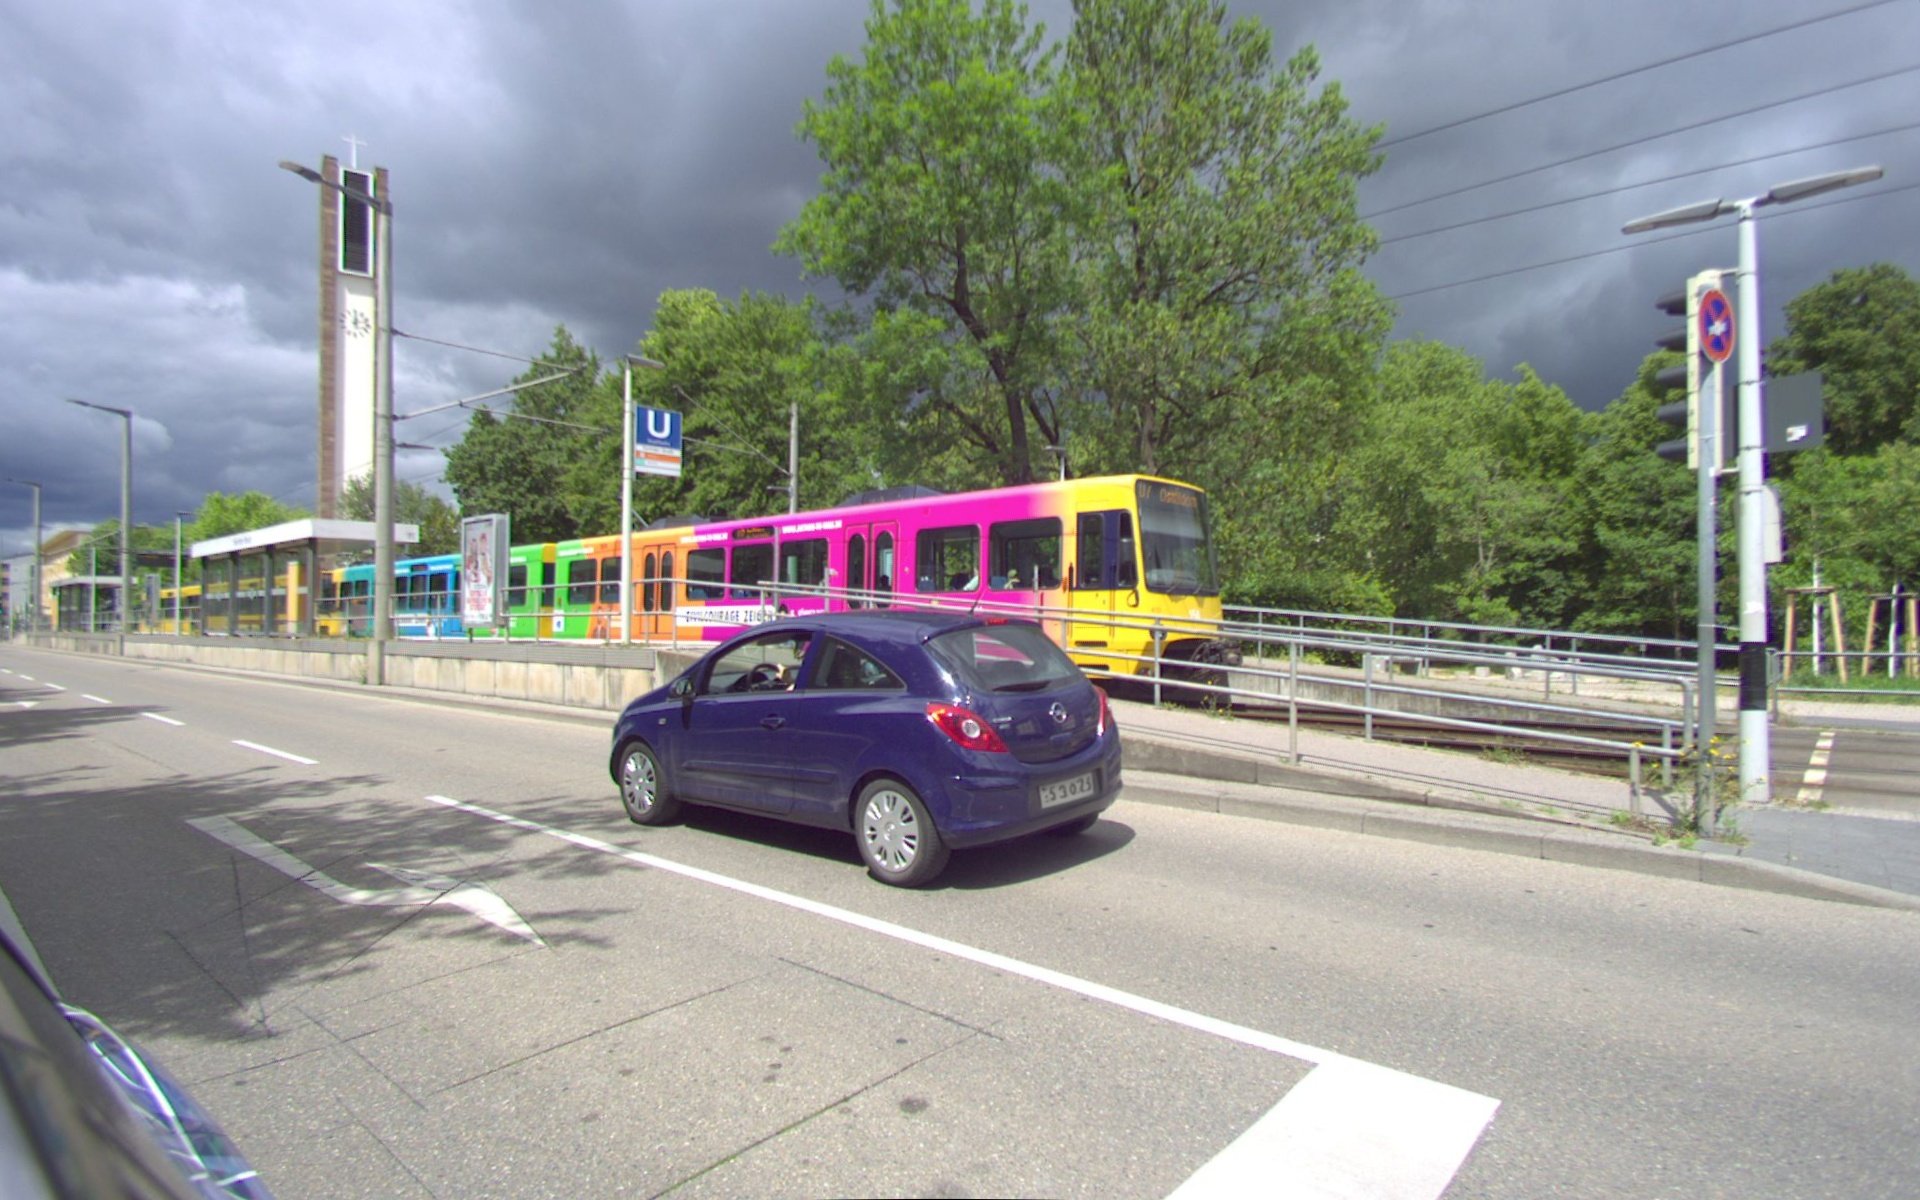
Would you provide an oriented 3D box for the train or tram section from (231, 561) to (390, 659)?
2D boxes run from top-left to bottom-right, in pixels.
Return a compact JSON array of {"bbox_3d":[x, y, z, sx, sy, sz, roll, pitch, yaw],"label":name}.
[{"bbox_3d":[-29.468,0.467,45.535,12.199,3.892,2.948,-1,0,42],"label":"train or tram section"}]

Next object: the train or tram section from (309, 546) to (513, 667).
[{"bbox_3d":[-20.621,0.279,37.476,11.784,3.892,2.948,-1,0,42],"label":"train or tram section"}]

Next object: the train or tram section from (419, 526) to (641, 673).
[{"bbox_3d":[-13.215,0.029,30.649,8.377,3.892,2.948,-1,0,42],"label":"train or tram section"}]

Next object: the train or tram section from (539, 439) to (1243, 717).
[{"bbox_3d":[-3.271,-0.182,21.545,18.535,3.892,2.948,-1,0,43],"label":"train or tram section"}]

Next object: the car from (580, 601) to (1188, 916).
[{"bbox_3d":[-0.713,0.760,6.653,4.008,1.452,1.699,-1,-1,42],"label":"car"}]

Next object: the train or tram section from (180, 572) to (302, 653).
[{"bbox_3d":[-38.117,0.650,53.426,11.105,3.892,2.949,-1,0,42],"label":"train or tram section"}]
